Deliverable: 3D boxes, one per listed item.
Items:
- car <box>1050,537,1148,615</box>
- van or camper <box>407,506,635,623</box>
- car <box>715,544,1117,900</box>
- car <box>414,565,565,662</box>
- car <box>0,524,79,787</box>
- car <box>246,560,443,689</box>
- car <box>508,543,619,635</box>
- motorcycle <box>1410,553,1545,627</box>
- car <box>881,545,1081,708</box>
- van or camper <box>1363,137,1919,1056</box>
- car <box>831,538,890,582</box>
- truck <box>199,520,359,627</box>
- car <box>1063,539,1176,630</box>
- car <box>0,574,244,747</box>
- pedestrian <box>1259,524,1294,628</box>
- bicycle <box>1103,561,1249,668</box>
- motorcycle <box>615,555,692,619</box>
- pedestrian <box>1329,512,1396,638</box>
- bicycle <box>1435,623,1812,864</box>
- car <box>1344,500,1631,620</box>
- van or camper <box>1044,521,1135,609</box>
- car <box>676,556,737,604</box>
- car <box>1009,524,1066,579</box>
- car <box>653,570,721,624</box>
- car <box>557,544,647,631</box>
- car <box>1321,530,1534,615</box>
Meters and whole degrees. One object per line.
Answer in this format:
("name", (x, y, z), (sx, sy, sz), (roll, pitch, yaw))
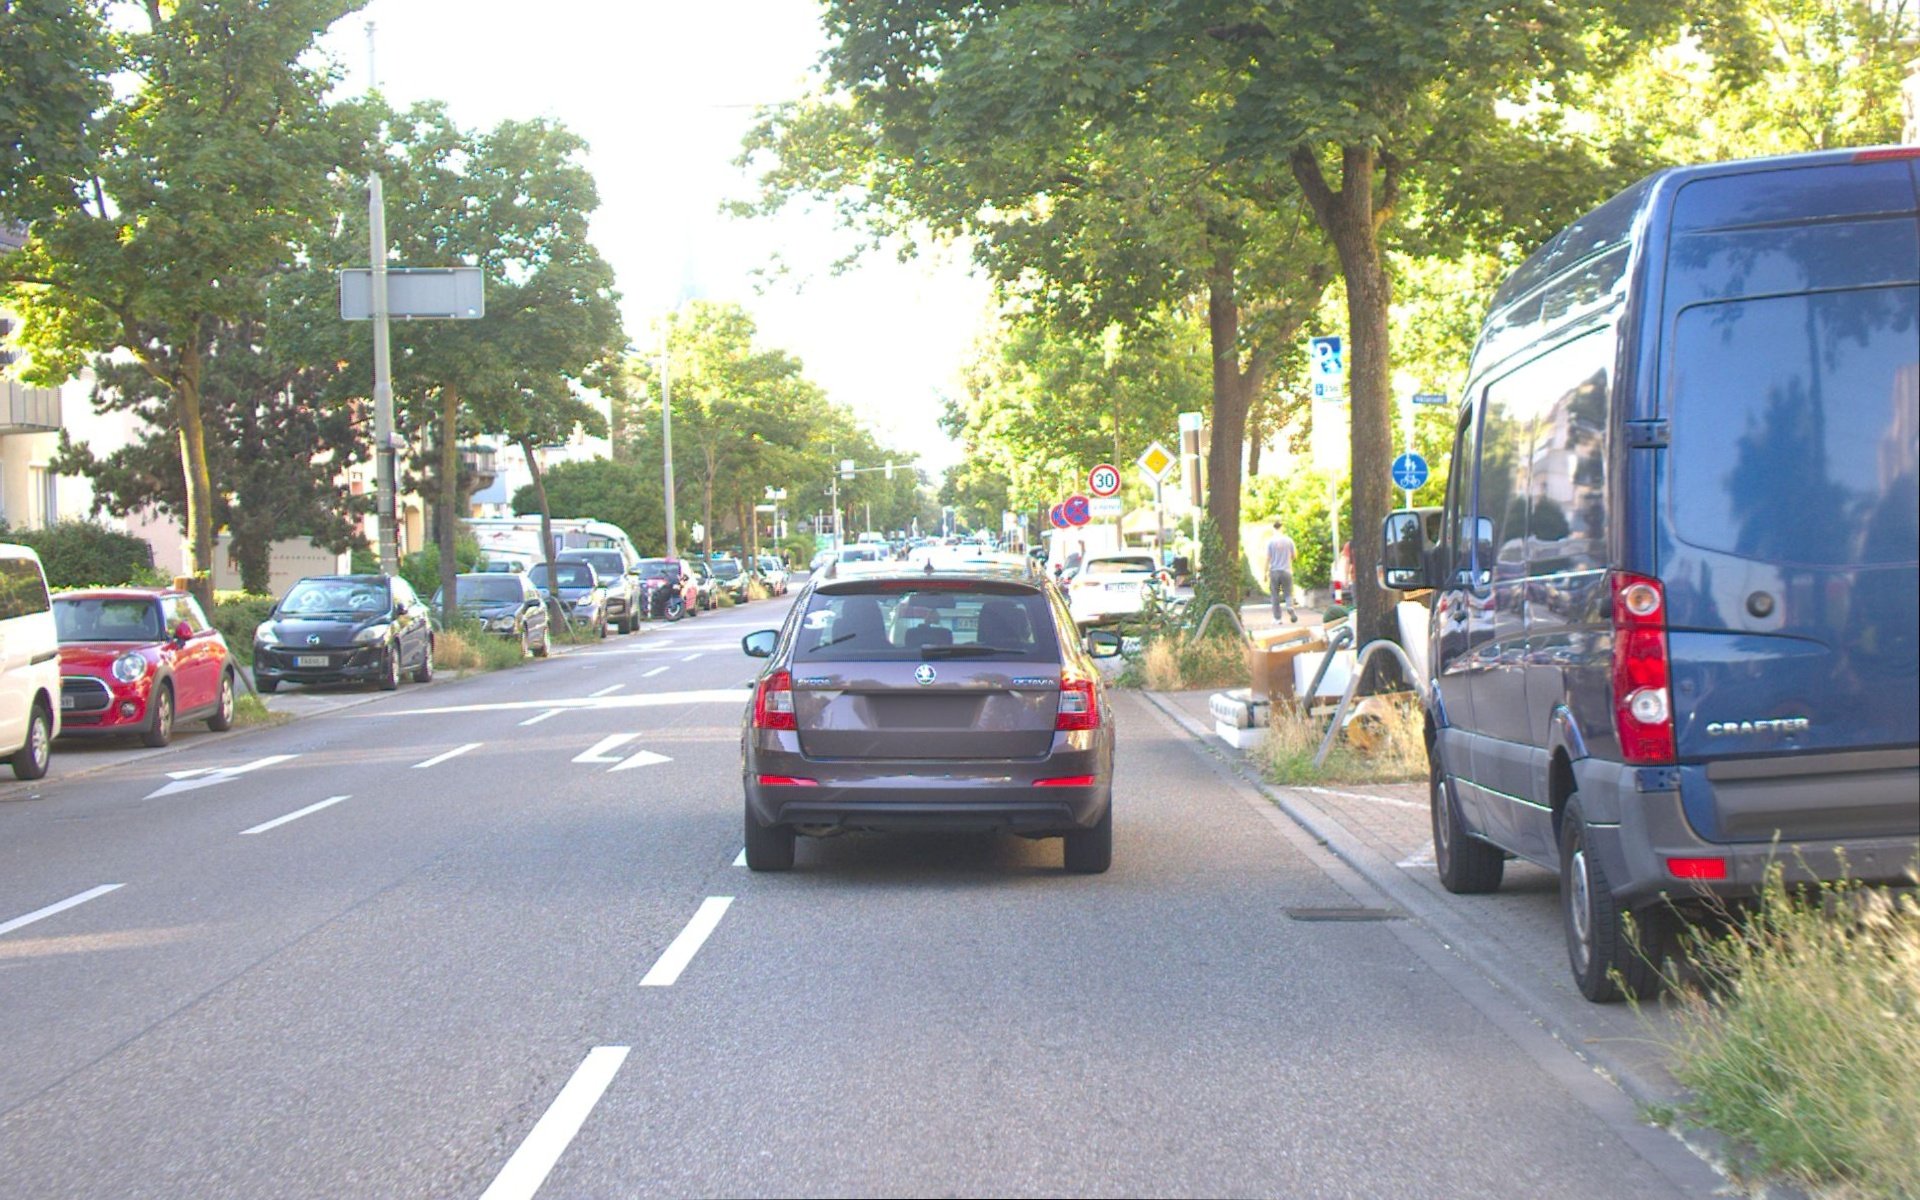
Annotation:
("car", (2.703, -0.484, 67.197), (1.821, 1.408, 4.111), (-1, 1, 2))
("van or camper", (-15.284, -1.258, 120.004), (7.639, 3.861, 2.000), (-1, 1, -1))
("car", (-0.152, 0.505, 17.058), (1.729, 1.488, 3.951), (-1, 1, 1))
("car", (-7.612, 0.185, 55.985), (1.754, 1.415, 4.425), (-1, 1, 1))
("car", (-7.927, 0.431, 25.126), (1.770, 1.912, 4.460), (-1, 1, 0))
("car", (-7.863, 0.277, 44.273), (1.717, 1.492, 4.248), (-1, 1, 0))
("car", (-7.901, -0.243, 68.743), (1.750, 1.734, 3.591), (-1, 1, 0))
("motorcycle", (8.277, -0.162, 55.028), (2.051, 1.121, 0.525), (-2, 1, -5))
("car", (0.158, 0.219, 34.769), (1.729, 1.488, 3.951), (-2, 1, -4))
("van or camper", (2.934, -0.045, 13.051), (2.068, 2.666, 5.990), (-1, 0, 0))
("car", (-4.144, -1.676, 143.991), (1.877, 1.751, 4.178), (-1, 1, 7))
("truck", (-13.883, -0.550, 70.181), (2.913, 2.086, 1.546), (-1, 1, 0))
("car", (2.699, -0.289, 58.480), (1.821, 1.408, 4.111), (-1, 1, 2))
("car", (-7.932, 0.520, 31.934), (1.717, 1.416, 3.787), (-1, 1, 0))
("pedestrian", (5.526, -0.425, 59.973), (0.535, 1.788, 0.687), (-1, 1, 2))
("bicycle", (2.698, 0.182, 42.957), (1.671, 1.222, 0.635), (-3, 1, 13))
("motorcycle", (-7.464, -0.320, 83.713), (0.764, 1.506, 2.029), (-3, 2, -42))
("pedestrian", (5.836, -0.365, 49.854), (0.756, 1.790, 0.906), (-2, 1, -5))
("bicycle", (3.149, 0.679, 16.383), (1.702, 1.085, 0.404), (-1, 1, 3))
("car", (8.996, -0.692, 58.595), (4.532, 1.886, 1.915), (-2, 1, -27))
("van or camper", (3.089, -0.876, 82.605), (1.993, 2.007, 4.000), (-1, 1, 0))
("car", (-8.092, -0.638, 109.937), (1.664, 1.427, 3.275), (-1, 1, 0))
("car", (2.653, -1.686, 118.395), (1.729, 1.809, 3.951), (-1, 1, -1))
("car", (-7.834, -0.092, 98.951), (1.664, 1.427, 3.275), (-1, 1, 0))
("car", (-7.618, -0.286, 73.407), (1.507, 1.751, 3.694), (-1, 1, 0))
("car", (9.077, -0.548, 66.719), (3.799, 1.520, 1.512), (-2, 1, -21))
